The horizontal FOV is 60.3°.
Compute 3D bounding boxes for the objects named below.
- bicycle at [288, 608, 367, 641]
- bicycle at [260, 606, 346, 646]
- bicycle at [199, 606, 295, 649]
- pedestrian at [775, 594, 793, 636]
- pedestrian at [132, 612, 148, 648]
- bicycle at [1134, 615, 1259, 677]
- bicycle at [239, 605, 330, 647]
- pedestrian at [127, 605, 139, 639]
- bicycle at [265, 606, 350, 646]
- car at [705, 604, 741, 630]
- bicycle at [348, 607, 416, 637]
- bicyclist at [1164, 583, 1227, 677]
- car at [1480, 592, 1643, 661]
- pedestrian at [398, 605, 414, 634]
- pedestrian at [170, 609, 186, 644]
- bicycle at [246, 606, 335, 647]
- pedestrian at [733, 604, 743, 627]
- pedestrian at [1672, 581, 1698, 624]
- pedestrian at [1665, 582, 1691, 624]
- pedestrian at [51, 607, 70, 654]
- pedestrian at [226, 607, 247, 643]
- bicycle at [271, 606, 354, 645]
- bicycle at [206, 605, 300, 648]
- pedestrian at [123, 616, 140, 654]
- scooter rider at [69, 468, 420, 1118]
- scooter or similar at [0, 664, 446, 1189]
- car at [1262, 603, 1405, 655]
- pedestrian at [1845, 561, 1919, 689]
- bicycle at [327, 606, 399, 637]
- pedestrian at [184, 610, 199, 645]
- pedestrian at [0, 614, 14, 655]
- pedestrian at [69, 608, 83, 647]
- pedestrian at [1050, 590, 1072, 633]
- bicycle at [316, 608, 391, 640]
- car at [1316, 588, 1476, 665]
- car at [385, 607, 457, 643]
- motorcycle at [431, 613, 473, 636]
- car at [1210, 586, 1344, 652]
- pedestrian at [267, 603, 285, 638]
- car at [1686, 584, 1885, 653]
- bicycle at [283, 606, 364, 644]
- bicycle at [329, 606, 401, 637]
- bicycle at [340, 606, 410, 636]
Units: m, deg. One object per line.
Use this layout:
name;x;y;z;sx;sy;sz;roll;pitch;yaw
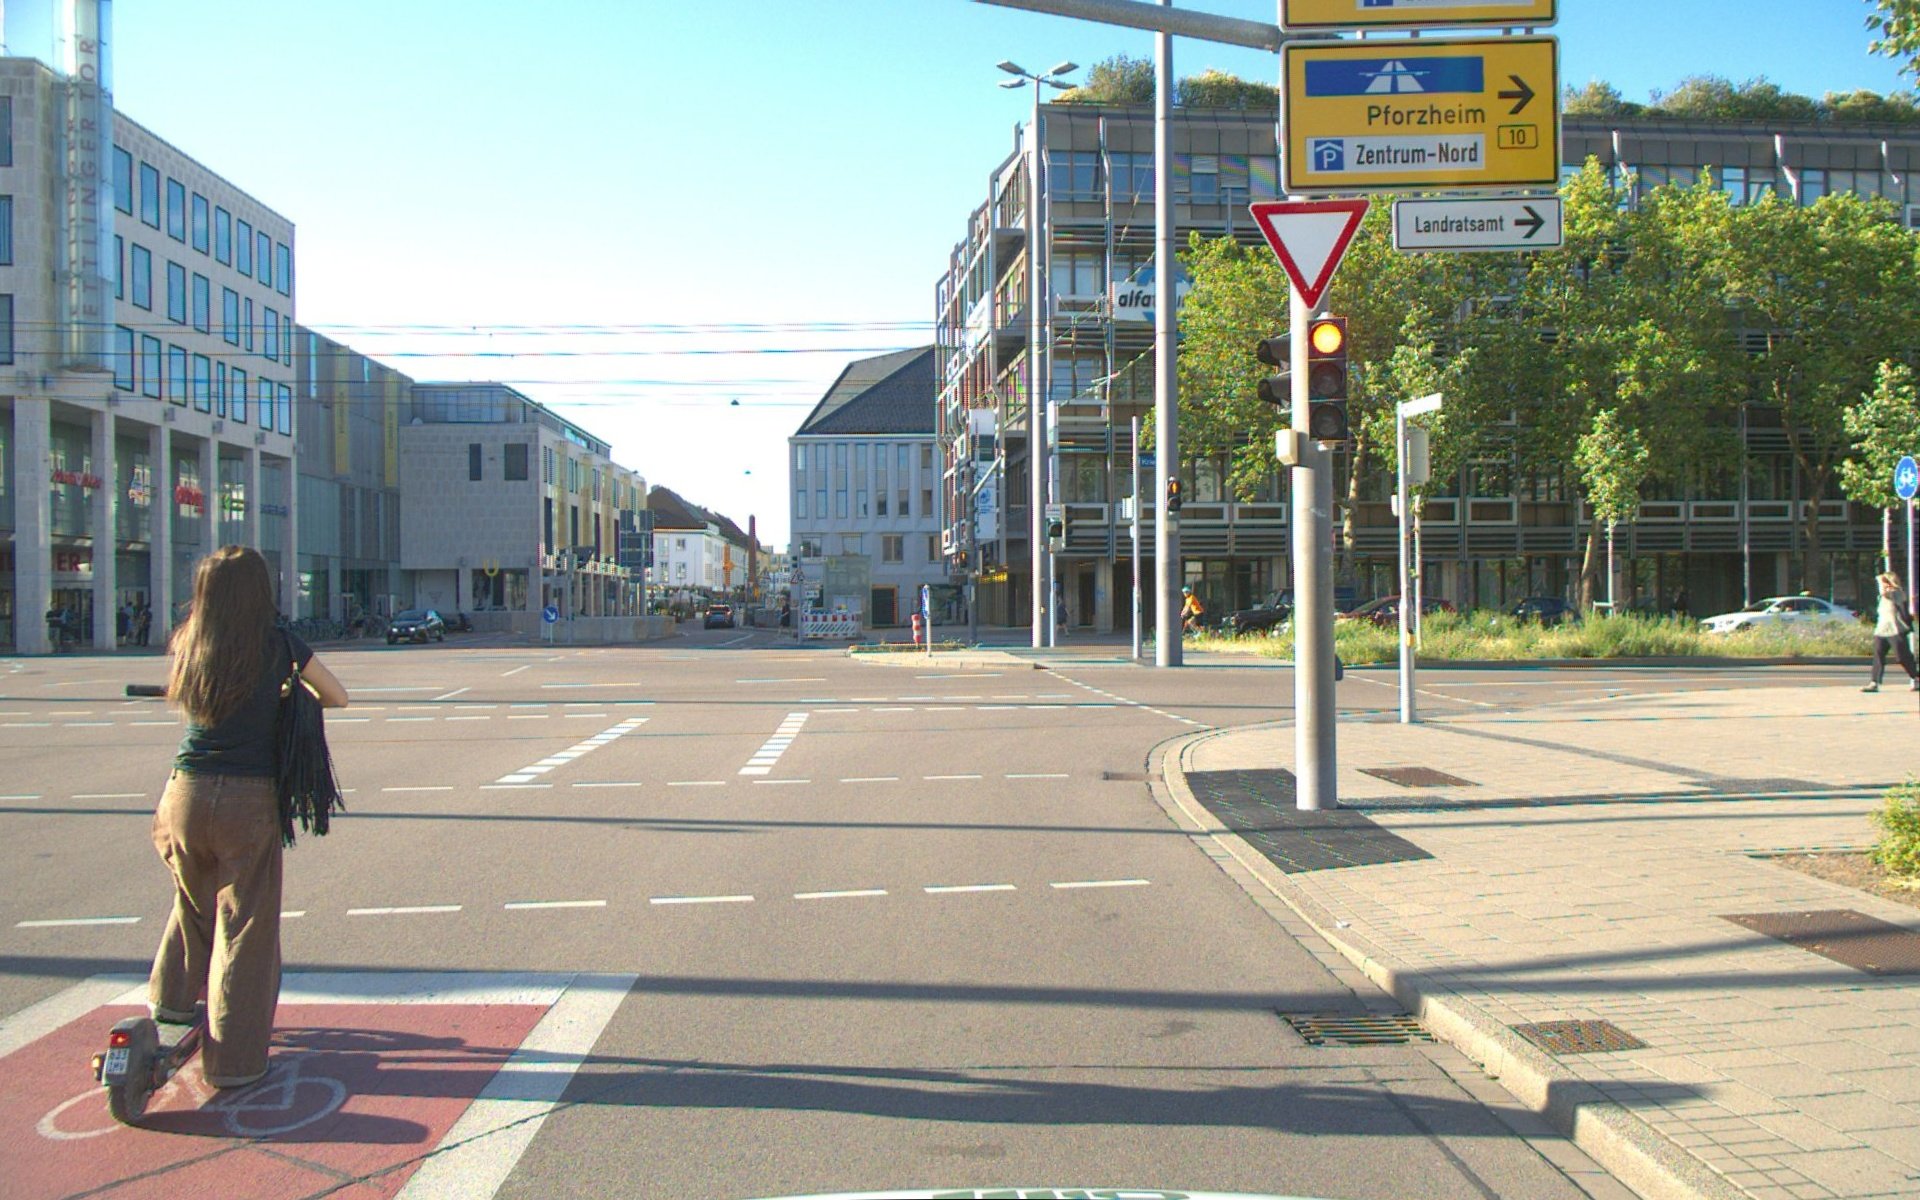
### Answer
bicycle;-30.539;1.175;79.856;3.430;1.554;0.984;-1;0;-12
bicycle;-29.571;1.173;74.494;3.430;1.726;0.984;-1;0;-12
bicycle;-29.320;1.117;68.033;3.427;1.726;1.114;-1;0;-10
pedestrian;-7.231;0.619;67.961;0.650;1.687;0.755;-1;0;-4
pedestrian;-34.853;1.276;70.304;0.472;1.537;0.513;-1;0;-5
bicycle;6.750;1.307;47.222;3.427;1.688;0.929;-1;0;-10
bicycle;-28.865;1.091;70.713;3.427;1.726;1.114;-1;0;-10
pedestrian;-36.642;0.971;73.296;0.379;1.464;0.367;-1;0;-6
bicycle;-29.795;1.182;75.582;3.430;1.726;0.984;-1;0;-12
car;-15.494;1.102;108.163;2.157;1.635;4.320;-1;0;-6
bicycle;-31.945;1.202;91.425;3.430;1.554;0.984;-1;0;-12
bicyclist;6.720;0.838;47.223;1.539;2.625;0.930;-1;0;-10
car;18.829;0.827;51.879;4.359;2.049;1.998;1;0;-6
pedestrian;-32.449;1.140;96.862;0.678;1.671;0.699;-1;0;4
pedestrian;-36.566;1.234;77.357;0.472;1.613;0.598;-1;0;-5
bicycle;-29.096;1.128;71.925;3.427;1.726;1.114;-1;0;-10
pedestrian;-14.187;0.990;105.637;0.598;1.436;0.569;-1;0;-7
pedestrian;29.008;0.094;66.211;0.651;1.687;0.740;-1;0;-8
pedestrian;29.134;0.100;67.138;0.651;1.687;0.740;-1;0;-8
pedestrian;-32.279;1.091;59.342;0.535;1.671;0.544;-1;0;-33
pedestrian;-33.464;1.158;76.513;0.771;1.671;0.692;-1;0;-14
bicycle;-30.036;1.183;76.781;3.430;1.726;0.984;-1;0;-12
bicycle;-29.547;1.083;69.197;3.427;1.726;1.114;-1;0;-10
pedestrian;-34.863;1.467;69.583;0.472;1.613;0.513;-1;0;-5
scooter rider;-2.125;0.536;5.012;0.713;1.806;0.811;0;0;-1
scooter or similar;-2.133;0.836;4.907;0.713;1.223;1.664;0;0;-1
car;11.442;0.869;50.815;3.908;1.534;1.867;1;0;-4
pedestrian;12.445;0.322;21.963;0.787;1.658;0.939;-1;0;-14
bicycle;-31.070;1.124;86.127;3.430;1.554;0.984;-1;0;-12
pedestrian;-36.011;1.271;77.488;0.472;1.613;0.598;-1;0;-5
pedestrian;-34.428;1.239;59.750;0.383;1.437;0.432;-1;0;-36
pedestrian;-37.397;1.158;69.953;0.379;1.613;0.367;-1;0;-6
pedestrian;4.010;0.470;65.681;0.715;1.687;0.649;-1;0;-8
bicycle;-30.882;1.216;84.266;3.430;1.554;0.984;-1;0;-12
car;12.233;0.739;46.578;3.908;2.049;1.999;1;0;-3
car;-23.550;1.075;72.386;1.953;1.512;3.998;-1;0;-2
motorcycle;-29.952;1.440;97.594;2.230;1.341;0.719;-1;0;-6
car;10.307;0.604;53.919;3.908;2.049;1.999;1;0;-3
pedestrian;-33.144;0.981;80.192;0.641;1.671;0.693;-1;0;-9
car;26.174;0.585;52.575;5.332;2.049;2.096;1;0;-3
bicycle;-30.335;1.192;78.867;3.430;1.726;0.984;-1;0;-12
bicycle;-31.386;1.112;87.244;3.430;1.554;0.984;-1;0;-12
bicycle;-31.477;1.142;89.018;3.430;1.554;0.984;-1;0;-12
